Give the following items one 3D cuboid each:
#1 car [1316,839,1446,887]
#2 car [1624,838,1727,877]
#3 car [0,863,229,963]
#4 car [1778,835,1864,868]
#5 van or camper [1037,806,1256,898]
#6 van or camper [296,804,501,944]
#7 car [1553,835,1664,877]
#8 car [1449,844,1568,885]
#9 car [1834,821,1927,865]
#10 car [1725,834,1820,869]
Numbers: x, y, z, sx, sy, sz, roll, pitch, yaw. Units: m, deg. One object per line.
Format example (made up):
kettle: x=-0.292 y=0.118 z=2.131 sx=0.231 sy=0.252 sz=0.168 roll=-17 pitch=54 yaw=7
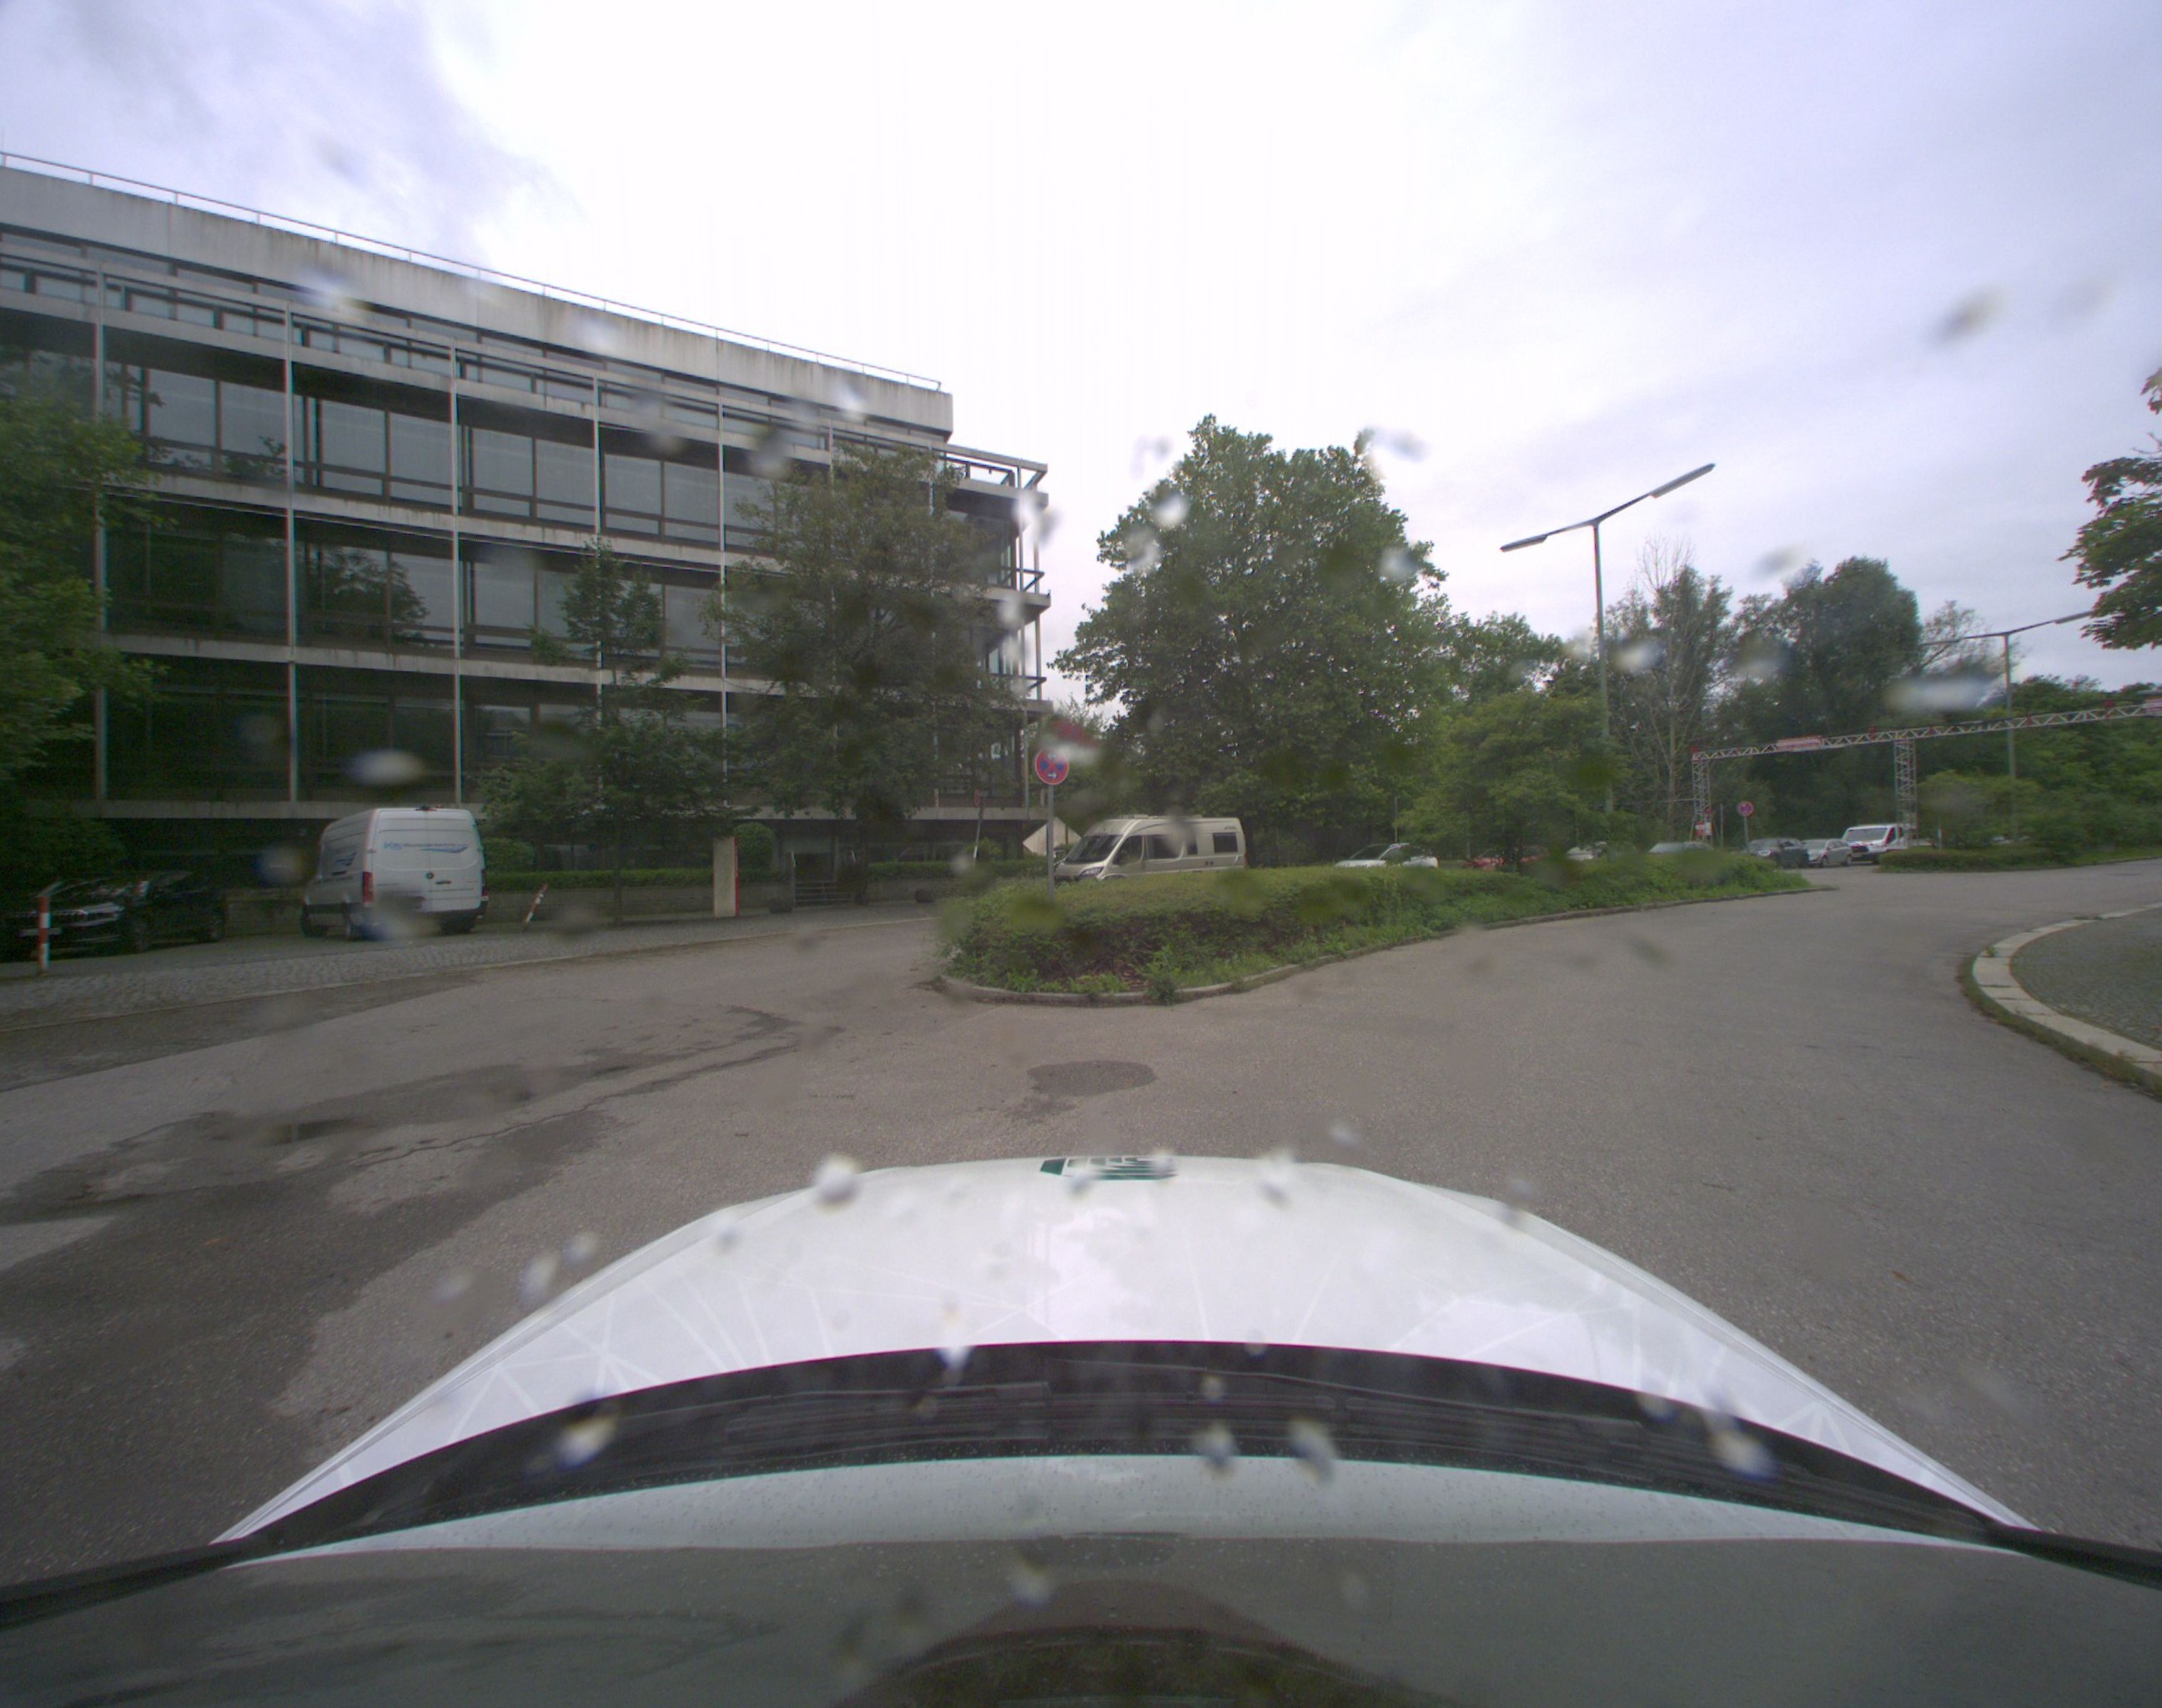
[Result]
car: x=10.482 y=0.308 z=28.441 sx=4.006 sy=1.508 sz=1.984 roll=-1 pitch=-1 yaw=-25
car: x=26.238 y=0.150 z=35.957 sx=4.006 sy=1.574 sz=1.984 roll=-1 pitch=-1 yaw=-25
car: x=-19.589 y=1.091 z=16.572 sx=1.953 sy=1.721 sz=4.198 roll=-1 pitch=-1 yaw=-30
car: x=37.940 y=-0.137 z=41.740 sx=4.010 sy=1.574 sz=1.982 roll=-1 pitch=-1 yaw=-28
van or camper: x=2.016 y=-0.067 z=23.131 sx=6.452 sy=2.281 sz=2.228 roll=-1 pitch=-1 yaw=-40
van or camper: x=-15.145 y=0.531 z=17.895 sx=6.454 sy=2.581 sz=2.176 roll=-4 pitch=-3 yaw=38
car: x=21.766 y=0.083 z=33.600 sx=4.006 sy=1.574 sz=1.984 roll=-1 pitch=-1 yaw=-25
car: x=16.304 y=0.380 z=31.065 sx=4.006 sy=1.409 sz=1.984 roll=-1 pitch=-1 yaw=-25
car: x=43.406 y=-0.621 z=44.195 sx=4.882 sy=2.227 sz=2.186 roll=-1 pitch=-1 yaw=-28
car: x=33.458 y=-0.122 z=39.404 sx=4.006 sy=1.574 sz=1.984 roll=-1 pitch=-1 yaw=-25
